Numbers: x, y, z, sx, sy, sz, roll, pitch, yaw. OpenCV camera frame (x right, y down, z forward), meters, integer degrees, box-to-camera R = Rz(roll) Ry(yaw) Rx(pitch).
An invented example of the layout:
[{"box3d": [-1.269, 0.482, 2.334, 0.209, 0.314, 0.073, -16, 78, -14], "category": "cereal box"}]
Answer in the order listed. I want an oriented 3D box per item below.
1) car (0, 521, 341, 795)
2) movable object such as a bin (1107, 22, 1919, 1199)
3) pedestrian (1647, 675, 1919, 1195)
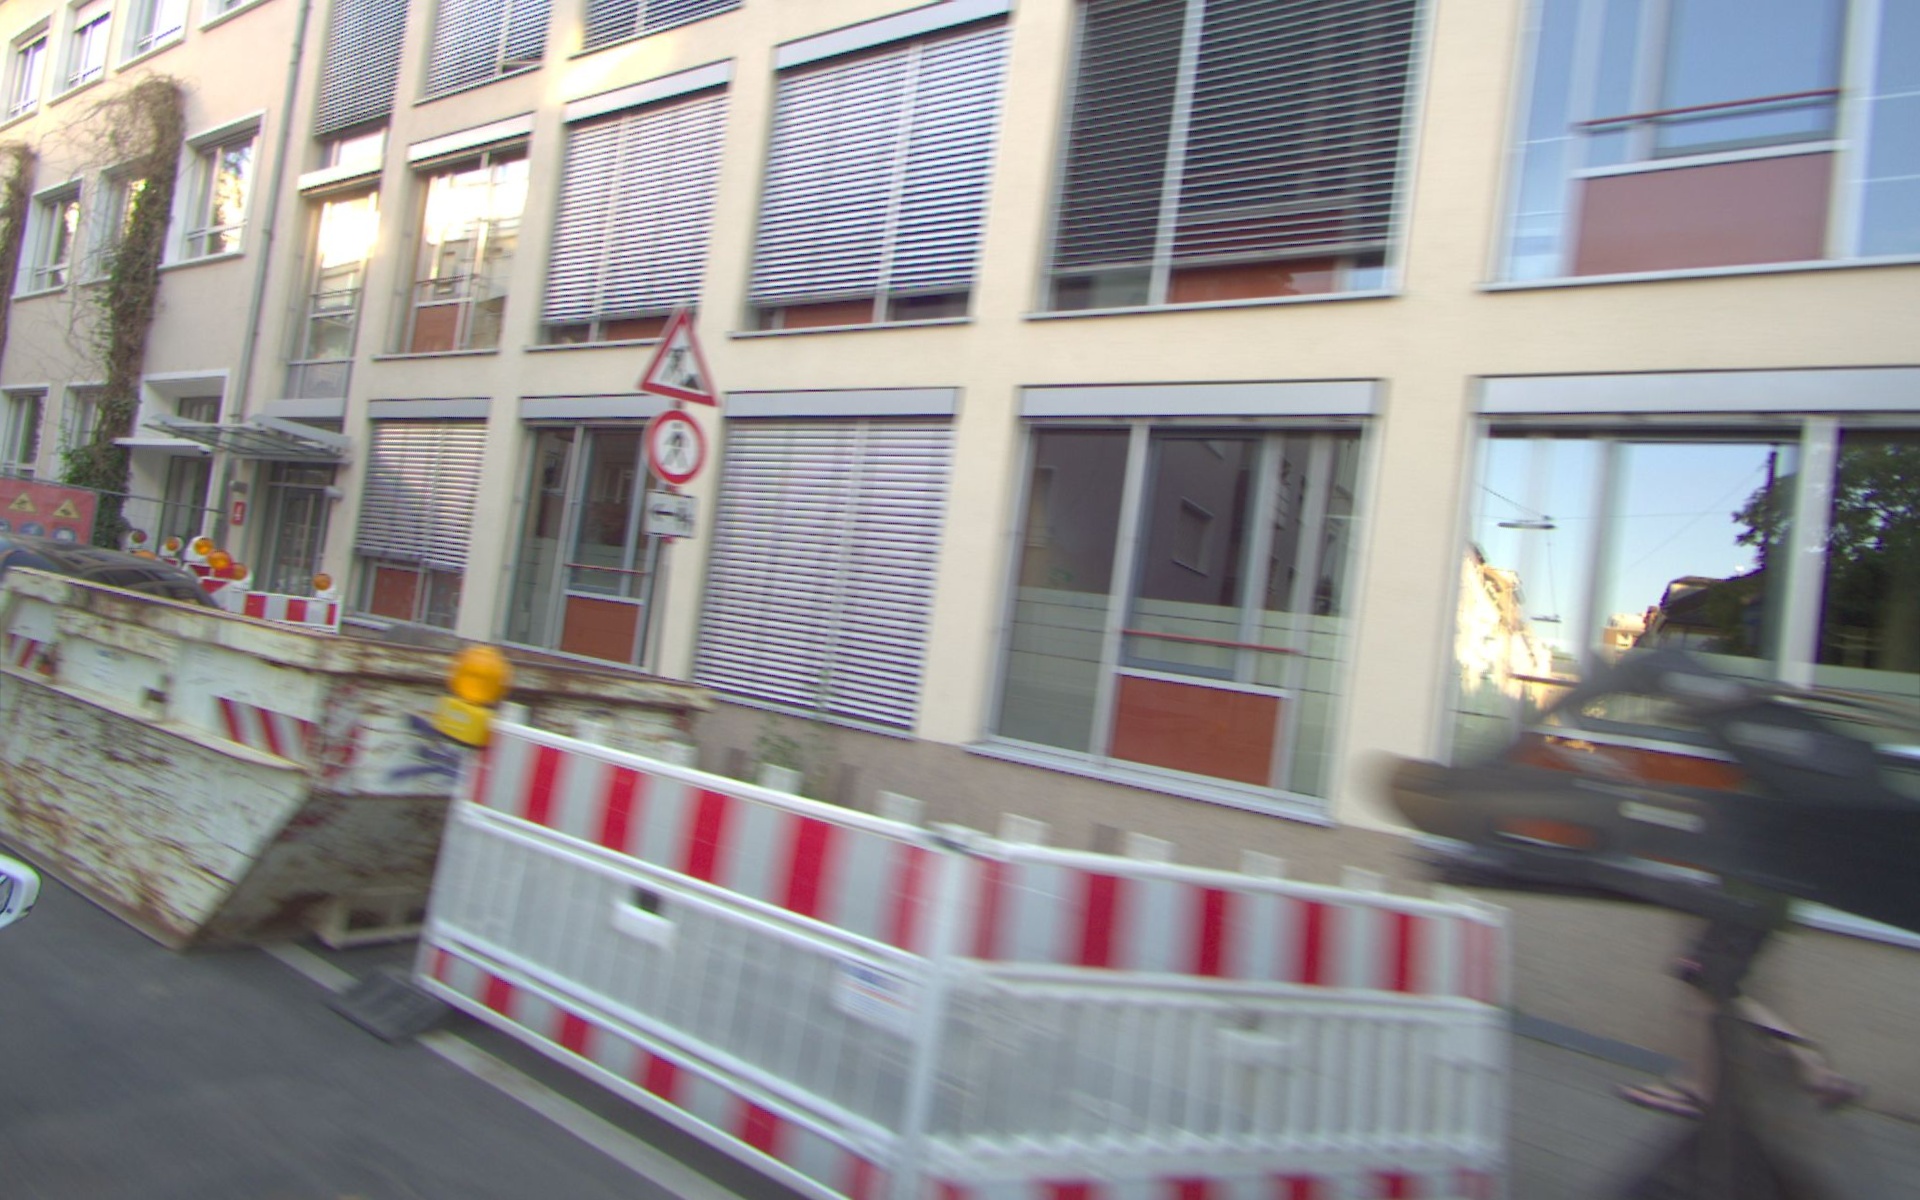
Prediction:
[{"box3d": [-6.686, 0.248, 7.326, 4.372, 1.486, 1.793, 6, -5, 32], "category": "car"}, {"box3d": [3.271, 0.806, 1.239, 5.656, 2.650, 2.022, 7, -4, 33], "category": "movable object such as a bin"}, {"box3d": [3.469, 1.291, 4.258, 0.710, 1.840, 0.806, 6, -1, 31], "category": "pedestrian"}]
